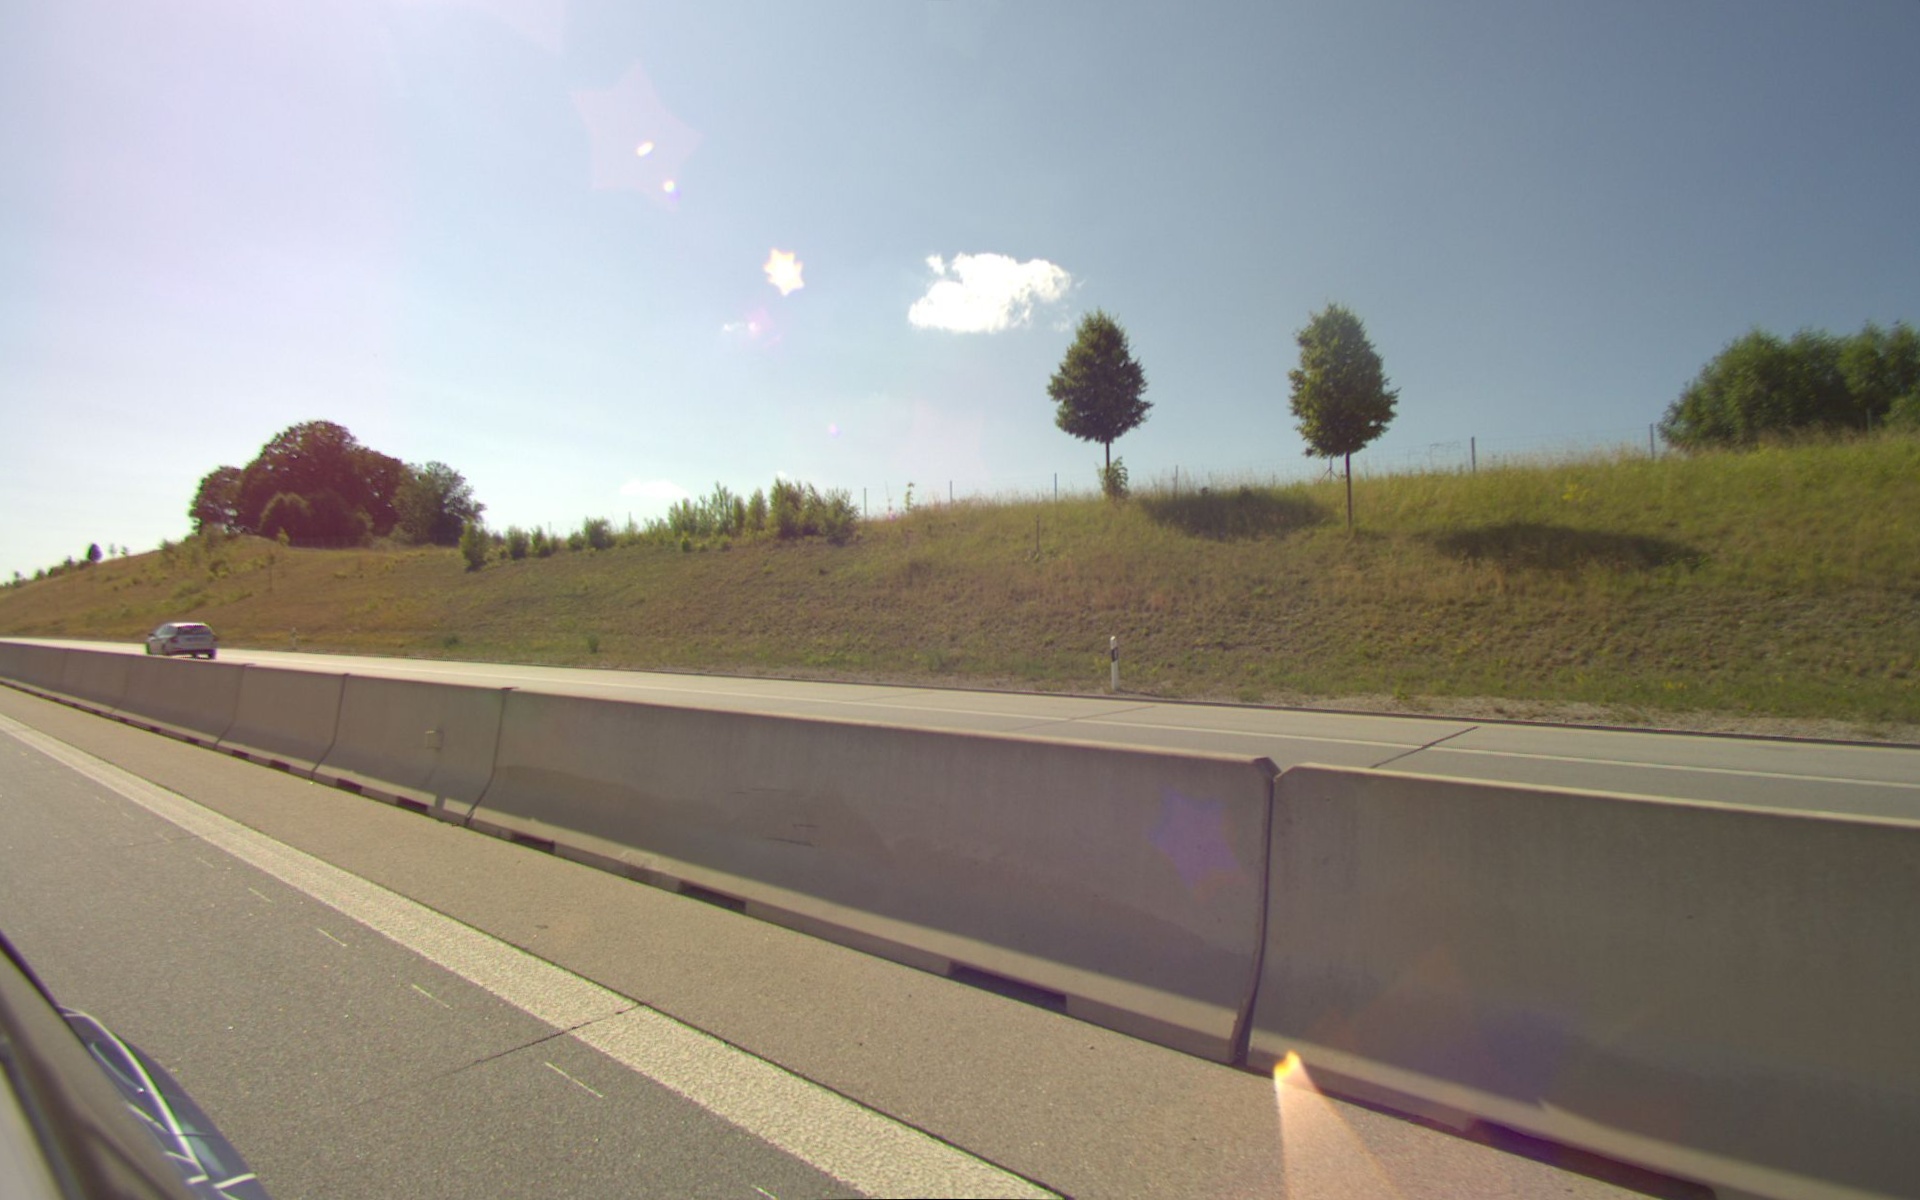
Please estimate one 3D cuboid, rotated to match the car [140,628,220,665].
[{"bbox_3d":[-32.555,1.896,42.179,4.525,1.482,1.784,-1,-2,41],"label":"car"}]
